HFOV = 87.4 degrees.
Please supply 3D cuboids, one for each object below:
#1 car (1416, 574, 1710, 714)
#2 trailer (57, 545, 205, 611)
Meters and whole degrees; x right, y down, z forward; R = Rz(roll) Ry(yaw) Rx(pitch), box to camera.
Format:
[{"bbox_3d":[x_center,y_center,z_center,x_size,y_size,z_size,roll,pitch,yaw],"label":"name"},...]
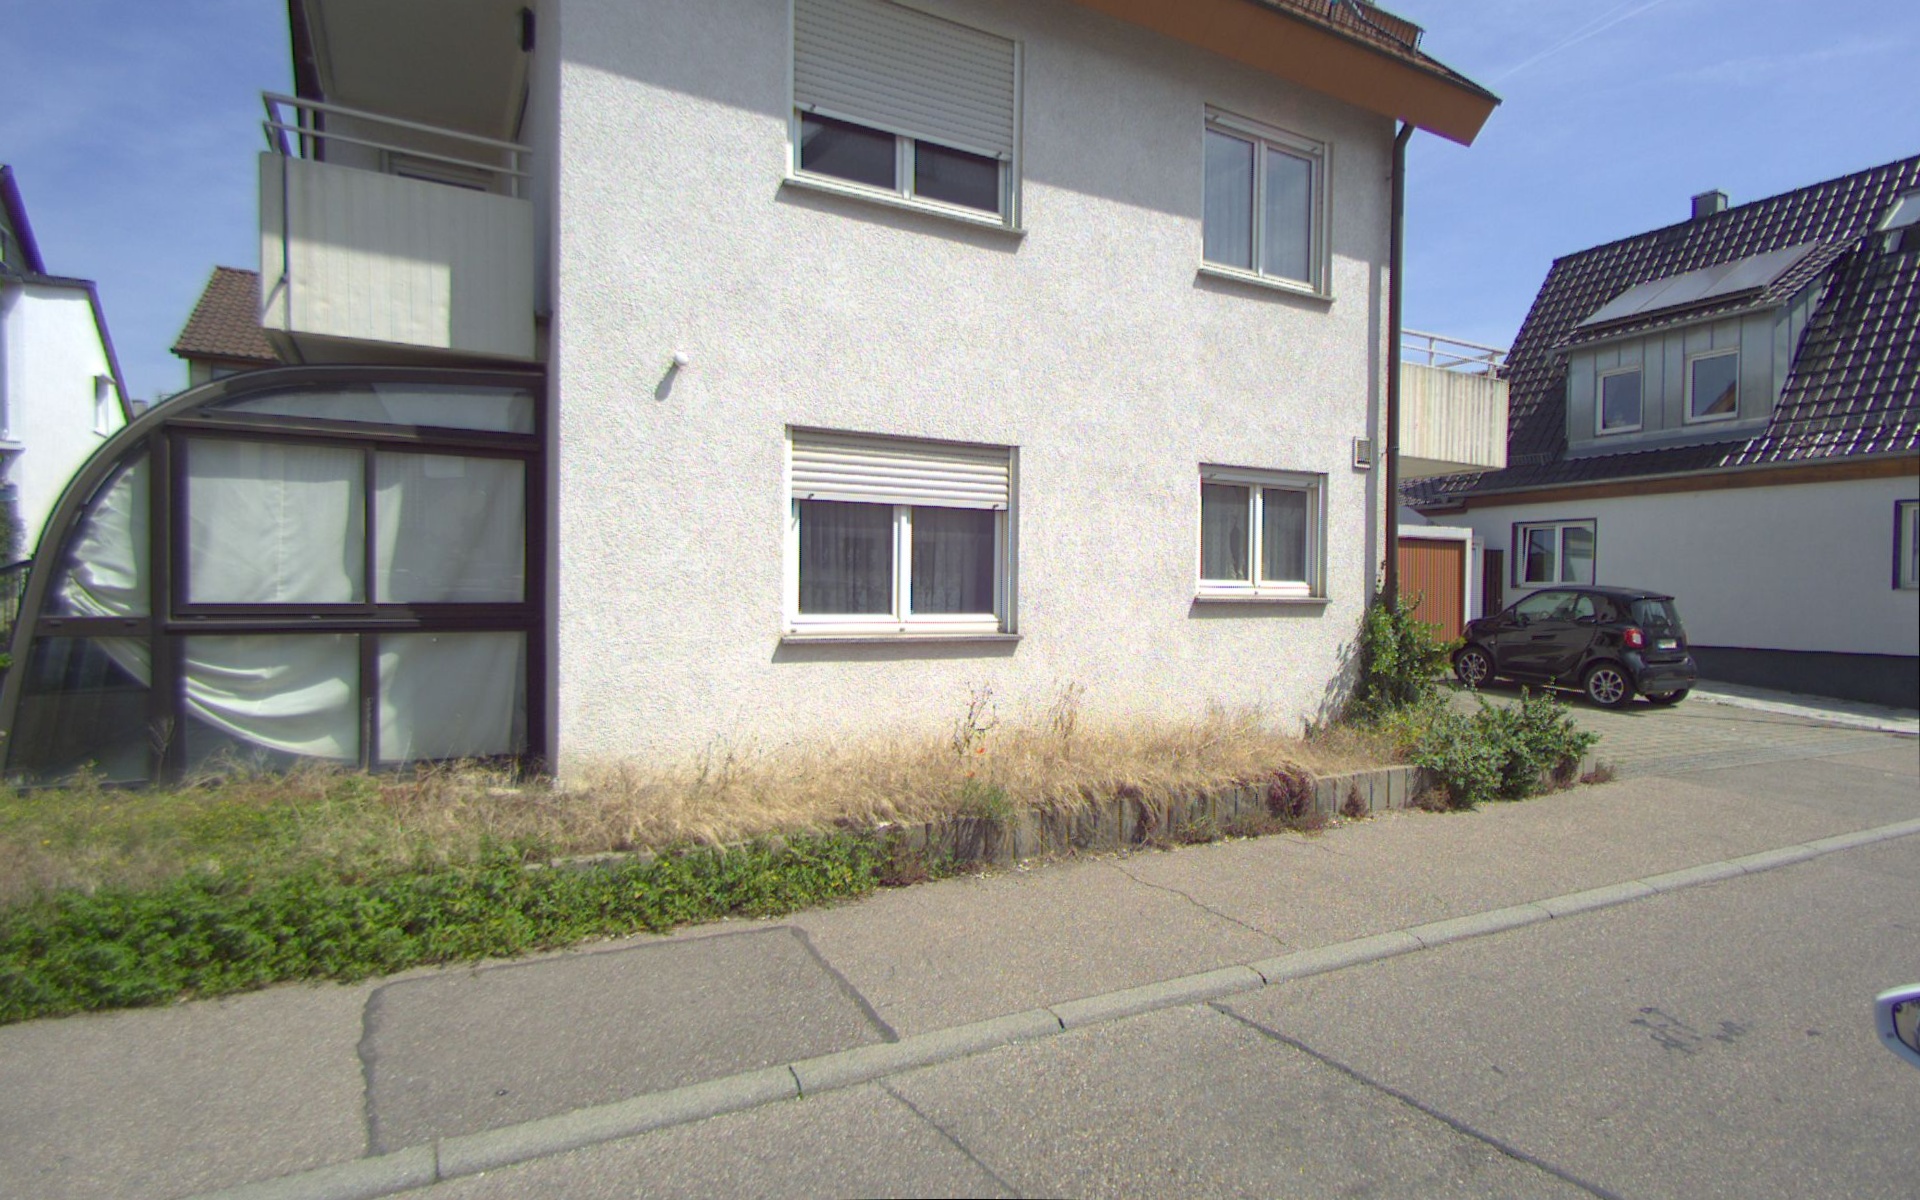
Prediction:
[{"bbox_3d":[8.493,0.537,14.377,1.694,1.598,3.095,1,4,-30],"label":"car"},{"bbox_3d":[-18.989,-0.508,23.238,2.022,1.325,4.729,1,1,-32],"label":"trailer"}]
